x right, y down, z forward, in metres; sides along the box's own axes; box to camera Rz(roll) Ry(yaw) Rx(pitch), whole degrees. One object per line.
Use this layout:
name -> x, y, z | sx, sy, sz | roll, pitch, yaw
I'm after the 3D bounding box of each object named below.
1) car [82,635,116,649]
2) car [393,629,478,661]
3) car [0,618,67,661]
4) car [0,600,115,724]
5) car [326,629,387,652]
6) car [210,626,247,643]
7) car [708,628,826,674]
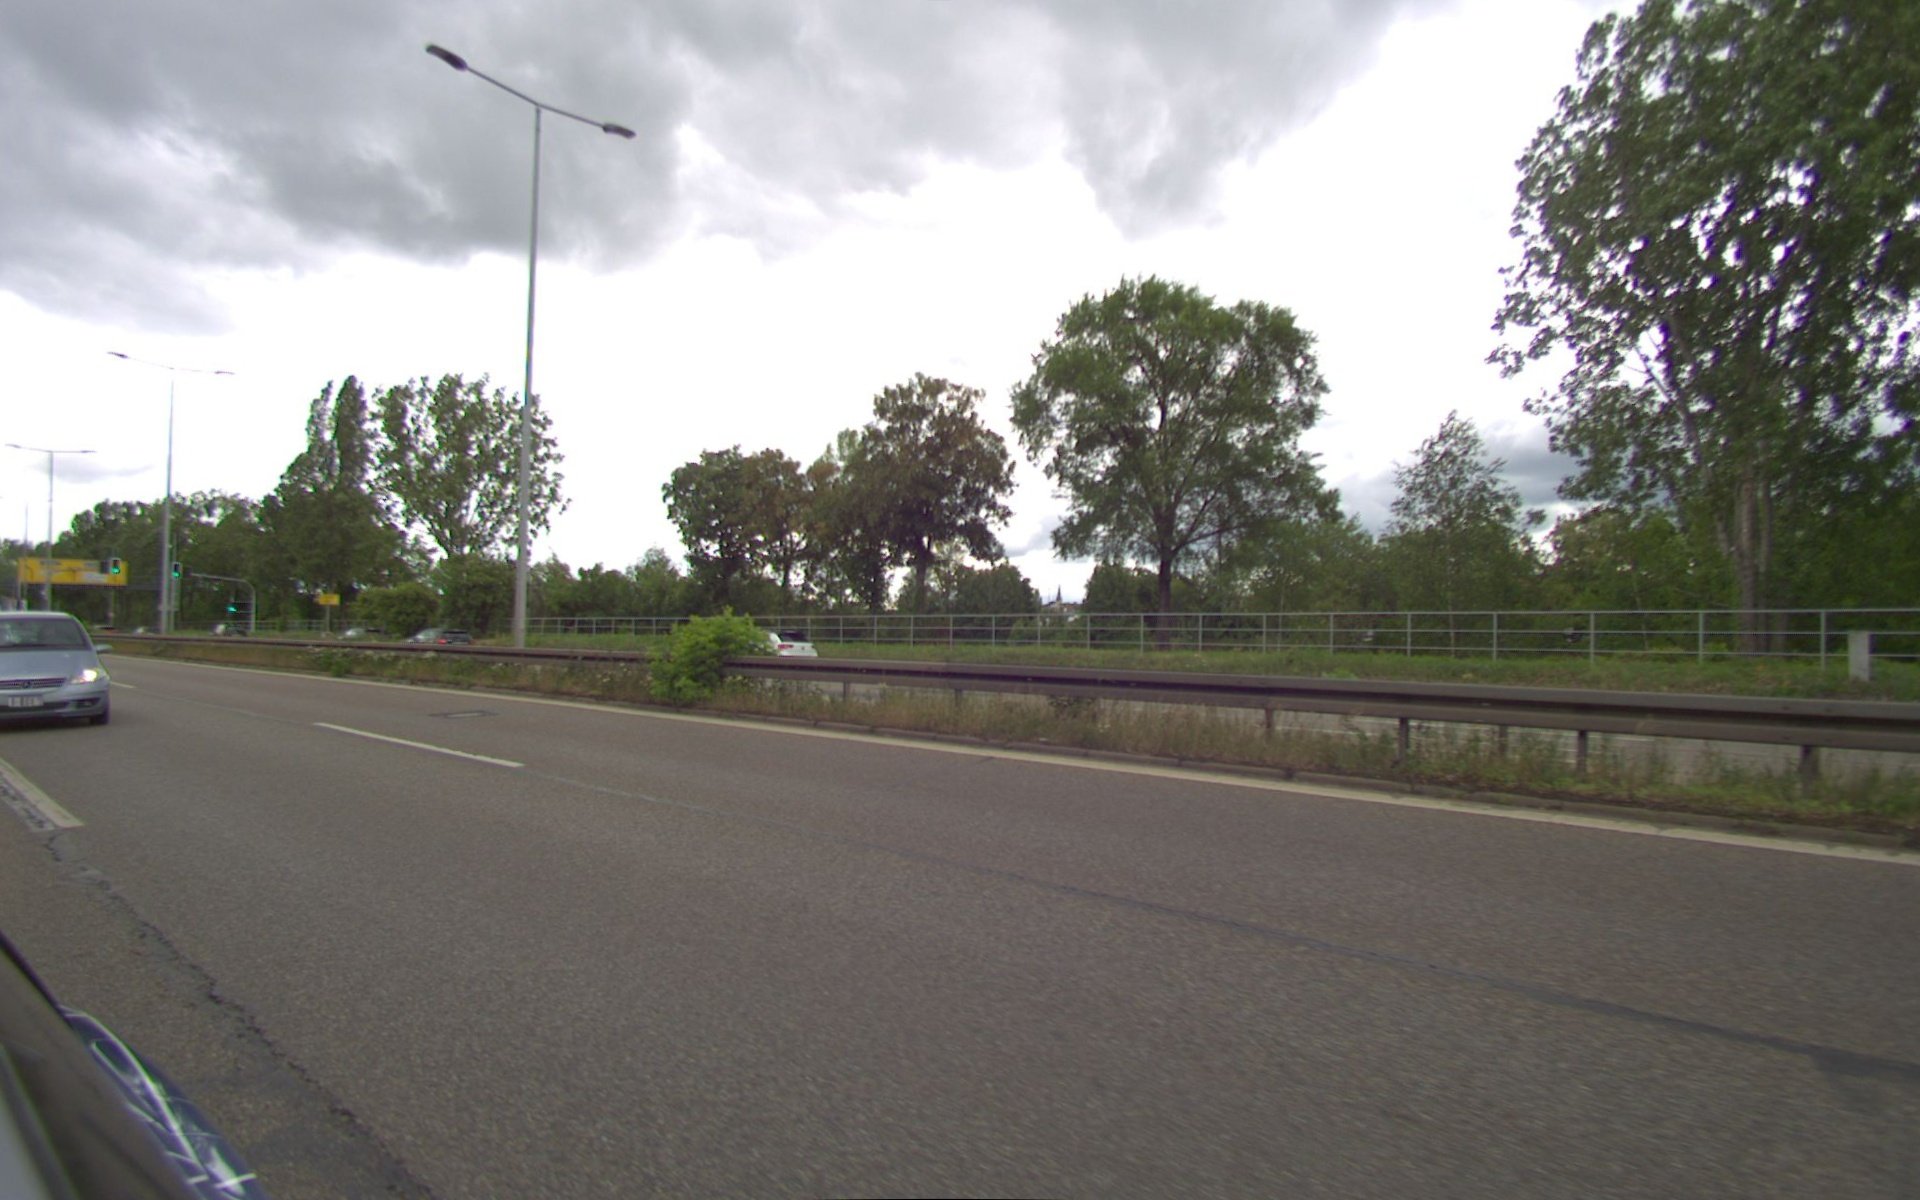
car -> -69.748, 3.391, 81.988 | 4.065, 1.114, 1.529 | -2, -2, 41
car -> -23.105, 1.962, 44.478 | 4.784, 1.309, 1.643 | -2, -2, 40
car -> -39.493, 1.670, 42.901 | 4.143, 1.738, 1.859 | -2, -2, 40
car -> -13.513, 0.838, 14.254 | 4.144, 1.551, 1.859 | -2, -2, 41
car -> -35.768, 2.382, 59.925 | 4.784, 1.309, 1.643 | -2, -2, 40
car -> -58.303, 2.727, 80.656 | 4.059, 1.309, 1.562 | -2, -2, 41
car -> -6.749, 1.752, 35.148 | 4.200, 1.501, 1.859 | -2, -2, 41
